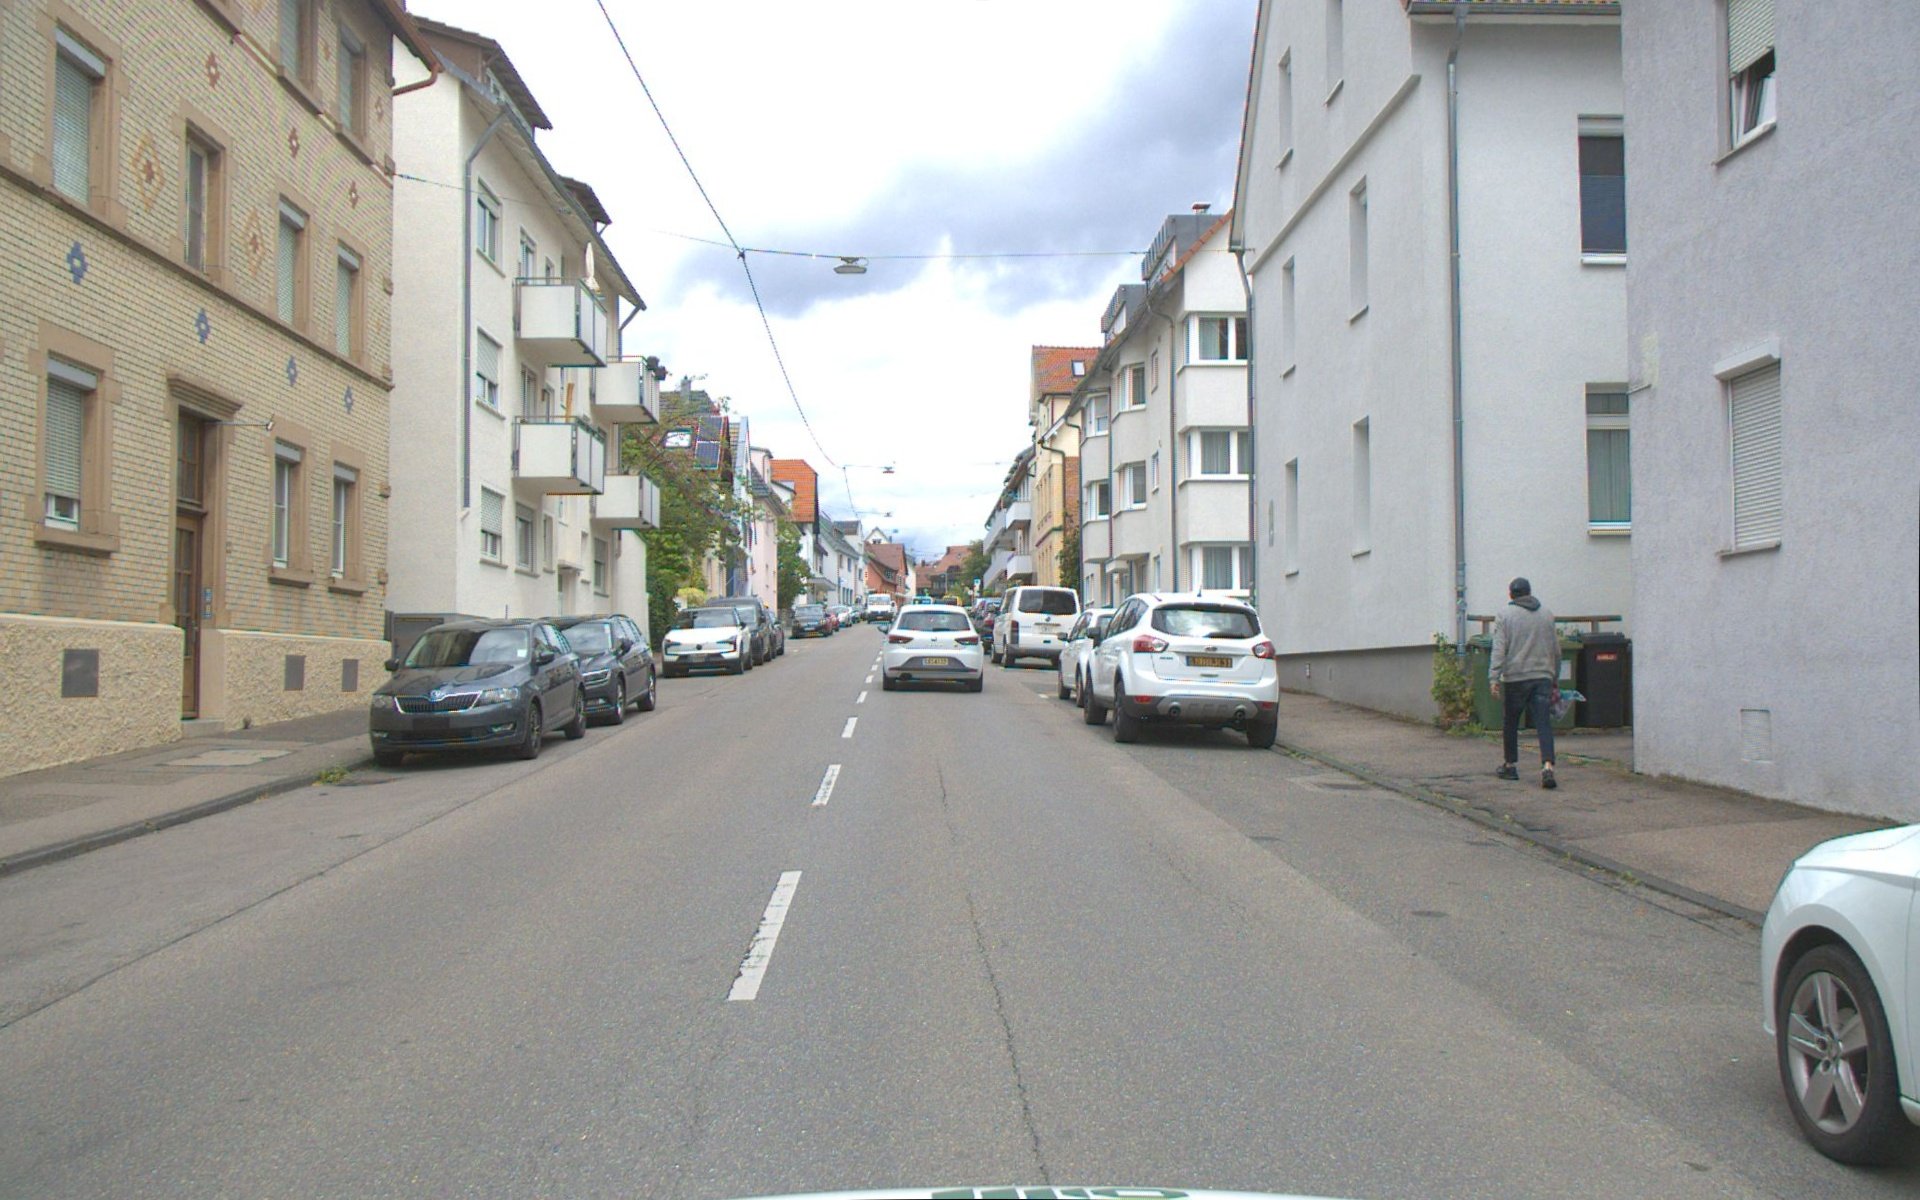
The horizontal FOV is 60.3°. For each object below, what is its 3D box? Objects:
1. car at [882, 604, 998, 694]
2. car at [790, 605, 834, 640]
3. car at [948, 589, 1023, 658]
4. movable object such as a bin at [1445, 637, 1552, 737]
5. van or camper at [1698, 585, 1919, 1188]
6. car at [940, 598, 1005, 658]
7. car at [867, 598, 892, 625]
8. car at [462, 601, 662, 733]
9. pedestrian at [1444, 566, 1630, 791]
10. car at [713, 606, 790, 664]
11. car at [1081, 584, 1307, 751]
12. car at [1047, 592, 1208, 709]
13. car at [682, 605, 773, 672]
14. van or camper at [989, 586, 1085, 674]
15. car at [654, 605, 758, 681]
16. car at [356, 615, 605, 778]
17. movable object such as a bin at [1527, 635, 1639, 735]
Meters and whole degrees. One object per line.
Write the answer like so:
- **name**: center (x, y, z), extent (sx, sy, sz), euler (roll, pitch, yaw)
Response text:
- **car**: center (-0.380, 0.818, 29.128), extent (1.901, 1.464, 3.998), euler (0, 0, -2)
- **car**: center (-7.354, 1.080, 82.379), extent (1.953, 1.680, 4.177), euler (0, 0, -2)
- **car**: center (0.766, 0.727, 52.407), extent (1.954, 2.049, 3.996), euler (-1, 0, -5)
- **movable object such as a bin**: center (6.173, 0.982, 19.017), extent (0.869, 1.080, 1.217), euler (0, 0, 3)
- **van or camper**: center (3.313, 0.765, 3.582), extent (1.570, 1.570, 3.999), euler (2, 0, -1)
- **car**: center (0.405, 0.983, 59.028), extent (1.954, 2.049, 3.996), euler (-1, 0, -5)
- **car**: center (-6.383, 0.915, 131.543), extent (1.953, 2.049, 3.998), euler (-1, 0, -2)
- **car**: center (-5.472, 0.865, 23.256), extent (1.953, 1.680, 3.998), euler (0, 0, -2)
- **pedestrian**: center (4.906, 0.639, 14.182), extent (0.957, 1.769, 1.532), euler (-3, 0, -1)
- **car**: center (-6.308, 1.038, 50.439), extent (1.953, 1.680, 3.998), euler (0, 0, -2)
- **car**: center (2.674, 0.736, 19.826), extent (1.902, 1.722, 3.997), euler (2, 0, -3)
- **car**: center (2.587, 0.764, 26.449), extent (1.902, 1.723, 3.997), euler (0, 0, -4)
- **car**: center (-6.124, 0.980, 43.888), extent (1.953, 1.680, 3.998), euler (0, 0, -2)
- **van or camper**: center (1.884, 0.729, 41.790), extent (1.902, 2.091, 4.559), euler (0, 0, -4)
- **car**: center (-5.924, 0.974, 39.041), extent (1.953, 1.680, 3.998), euler (0, 0, -2)
- **car**: center (-5.197, 0.978, 18.478), extent (1.609, 1.499, 4.177), euler (-3, 0, -2)
- **movable object such as a bin**: center (7.110, 0.952, 18.935), extent (0.869, 1.080, 1.217), euler (0, 0, 3)
